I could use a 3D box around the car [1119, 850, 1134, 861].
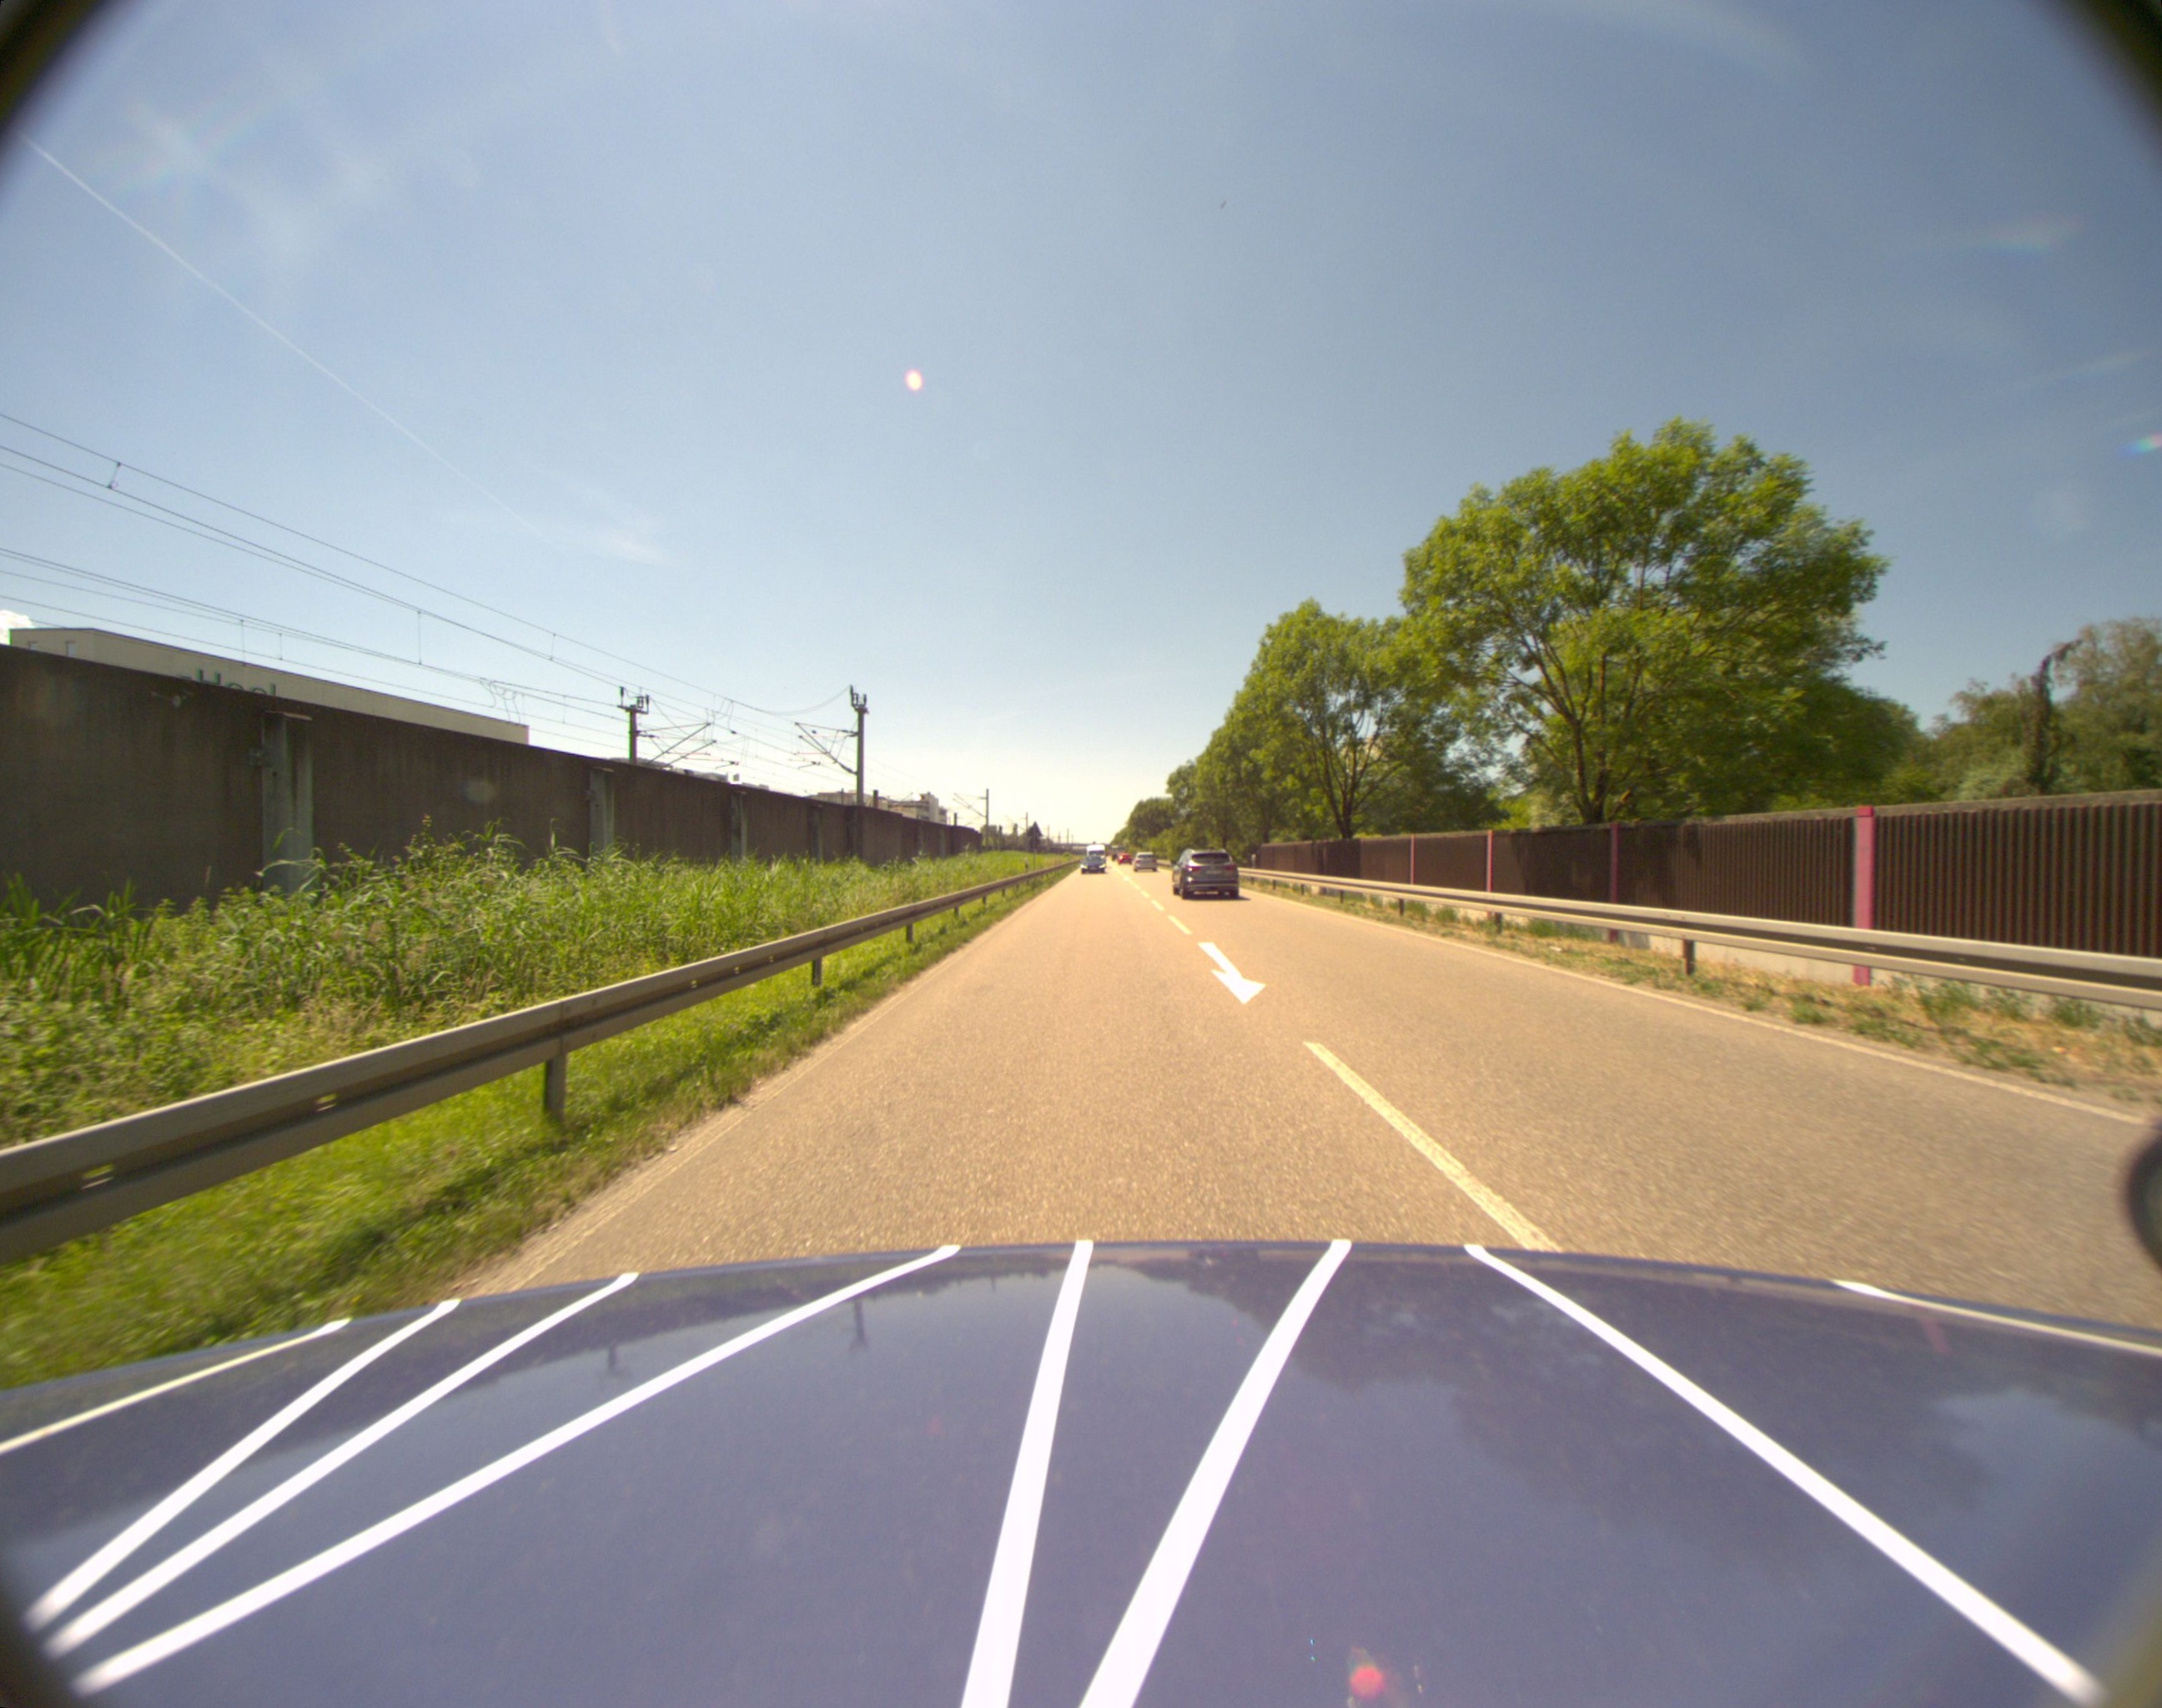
[{"bbox_3d":[5.901,0.208,99.201,1.794,1.413,4.000,-1,0,1],"label":"car"}]

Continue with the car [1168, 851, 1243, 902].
[{"bbox_3d":[4.027,0.660,25.270,1.794,1.517,4.390,-1,0,1],"label":"car"}]

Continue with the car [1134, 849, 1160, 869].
[{"bbox_3d":[5.278,0.400,61.449,1.794,1.517,4.390,-1,0,1],"label":"car"}]

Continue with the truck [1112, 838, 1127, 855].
[{"bbox_3d":[7.659,-1.483,152.248,2.790,3.385,7.989,-2,0,1],"label":"truck"}]

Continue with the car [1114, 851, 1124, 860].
[{"bbox_3d":[6.508,0.212,130.059,1.657,1.543,4.000,-1,0,1],"label":"car"}]

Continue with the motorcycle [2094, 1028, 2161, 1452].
[{"bbox_3d":[3.333,1.032,0.973,0.956,1.102,2.335,-2,0,1],"label":"motorcycle"}]

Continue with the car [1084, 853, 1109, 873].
[{"bbox_3d":[1.172,0.651,56.721,1.758,1.313,4.000,-2,0,1],"label":"car"}]

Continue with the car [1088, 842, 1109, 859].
[{"bbox_3d":[1.932,-0.418,82.425,2.161,1.701,4.493,-2,0,1],"label":"car"}]
